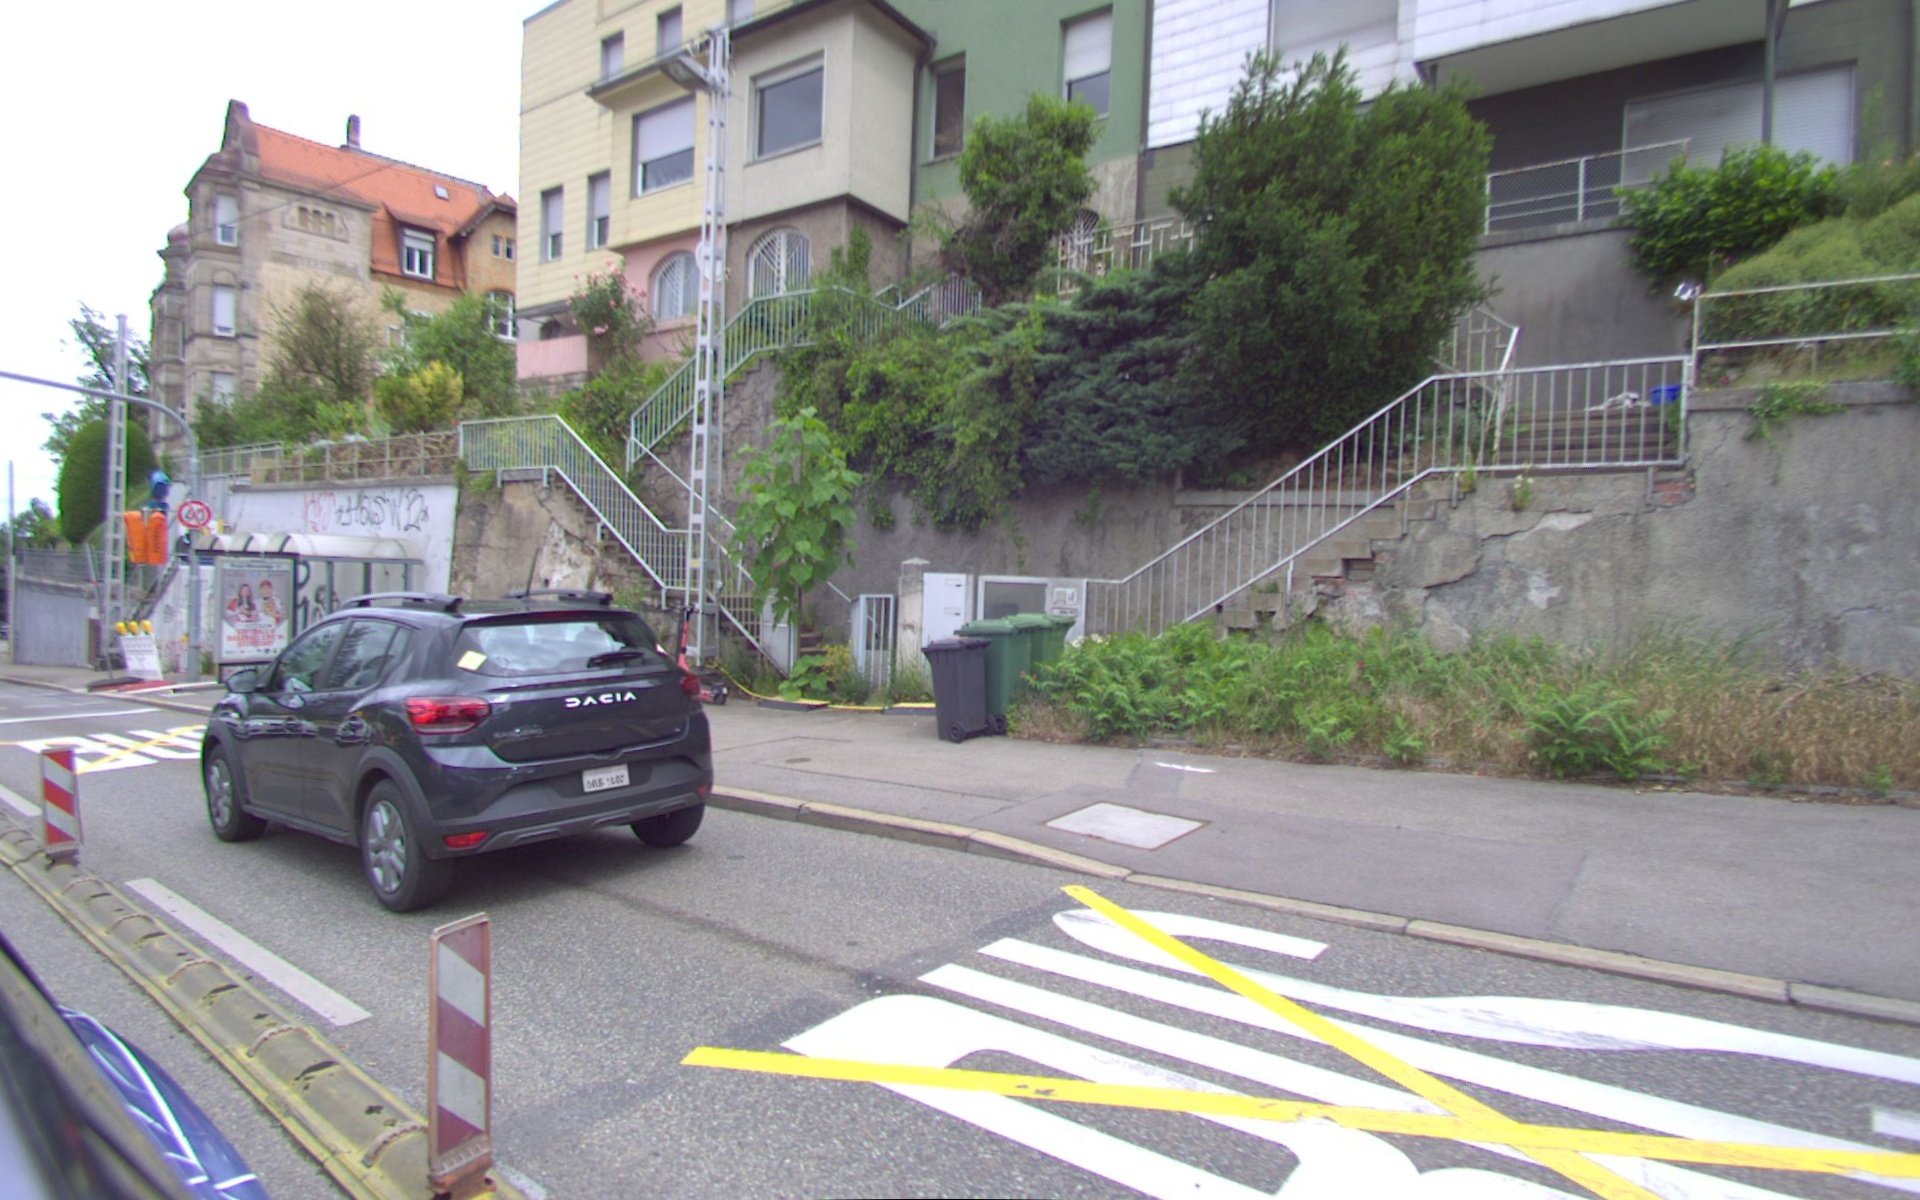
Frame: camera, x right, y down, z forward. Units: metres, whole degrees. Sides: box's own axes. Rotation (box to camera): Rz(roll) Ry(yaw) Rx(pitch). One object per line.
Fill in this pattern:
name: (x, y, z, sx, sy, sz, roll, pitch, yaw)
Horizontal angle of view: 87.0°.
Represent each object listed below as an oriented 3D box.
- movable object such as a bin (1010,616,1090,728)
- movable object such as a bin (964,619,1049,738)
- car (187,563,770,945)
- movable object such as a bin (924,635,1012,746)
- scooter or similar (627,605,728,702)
movable object such as a bin: (0.902, 0.703, 10.150, 0.623, 1.061, 0.463, -2, 0, 38)
movable object such as a bin: (0.436, 0.721, 9.546, 0.623, 1.061, 0.463, -2, 0, 38)
car: (-3.127, 0.682, 6.259, 3.815, 1.634, 1.797, -1, 0, 40)
movable object such as a bin: (0.069, 0.798, 9.179, 0.623, 0.941, 0.463, -2, 0, 38)
scooter or similar: (-3.743, 0.690, 13.352, 1.432, 1.214, 0.455, -2, 1, 36)
